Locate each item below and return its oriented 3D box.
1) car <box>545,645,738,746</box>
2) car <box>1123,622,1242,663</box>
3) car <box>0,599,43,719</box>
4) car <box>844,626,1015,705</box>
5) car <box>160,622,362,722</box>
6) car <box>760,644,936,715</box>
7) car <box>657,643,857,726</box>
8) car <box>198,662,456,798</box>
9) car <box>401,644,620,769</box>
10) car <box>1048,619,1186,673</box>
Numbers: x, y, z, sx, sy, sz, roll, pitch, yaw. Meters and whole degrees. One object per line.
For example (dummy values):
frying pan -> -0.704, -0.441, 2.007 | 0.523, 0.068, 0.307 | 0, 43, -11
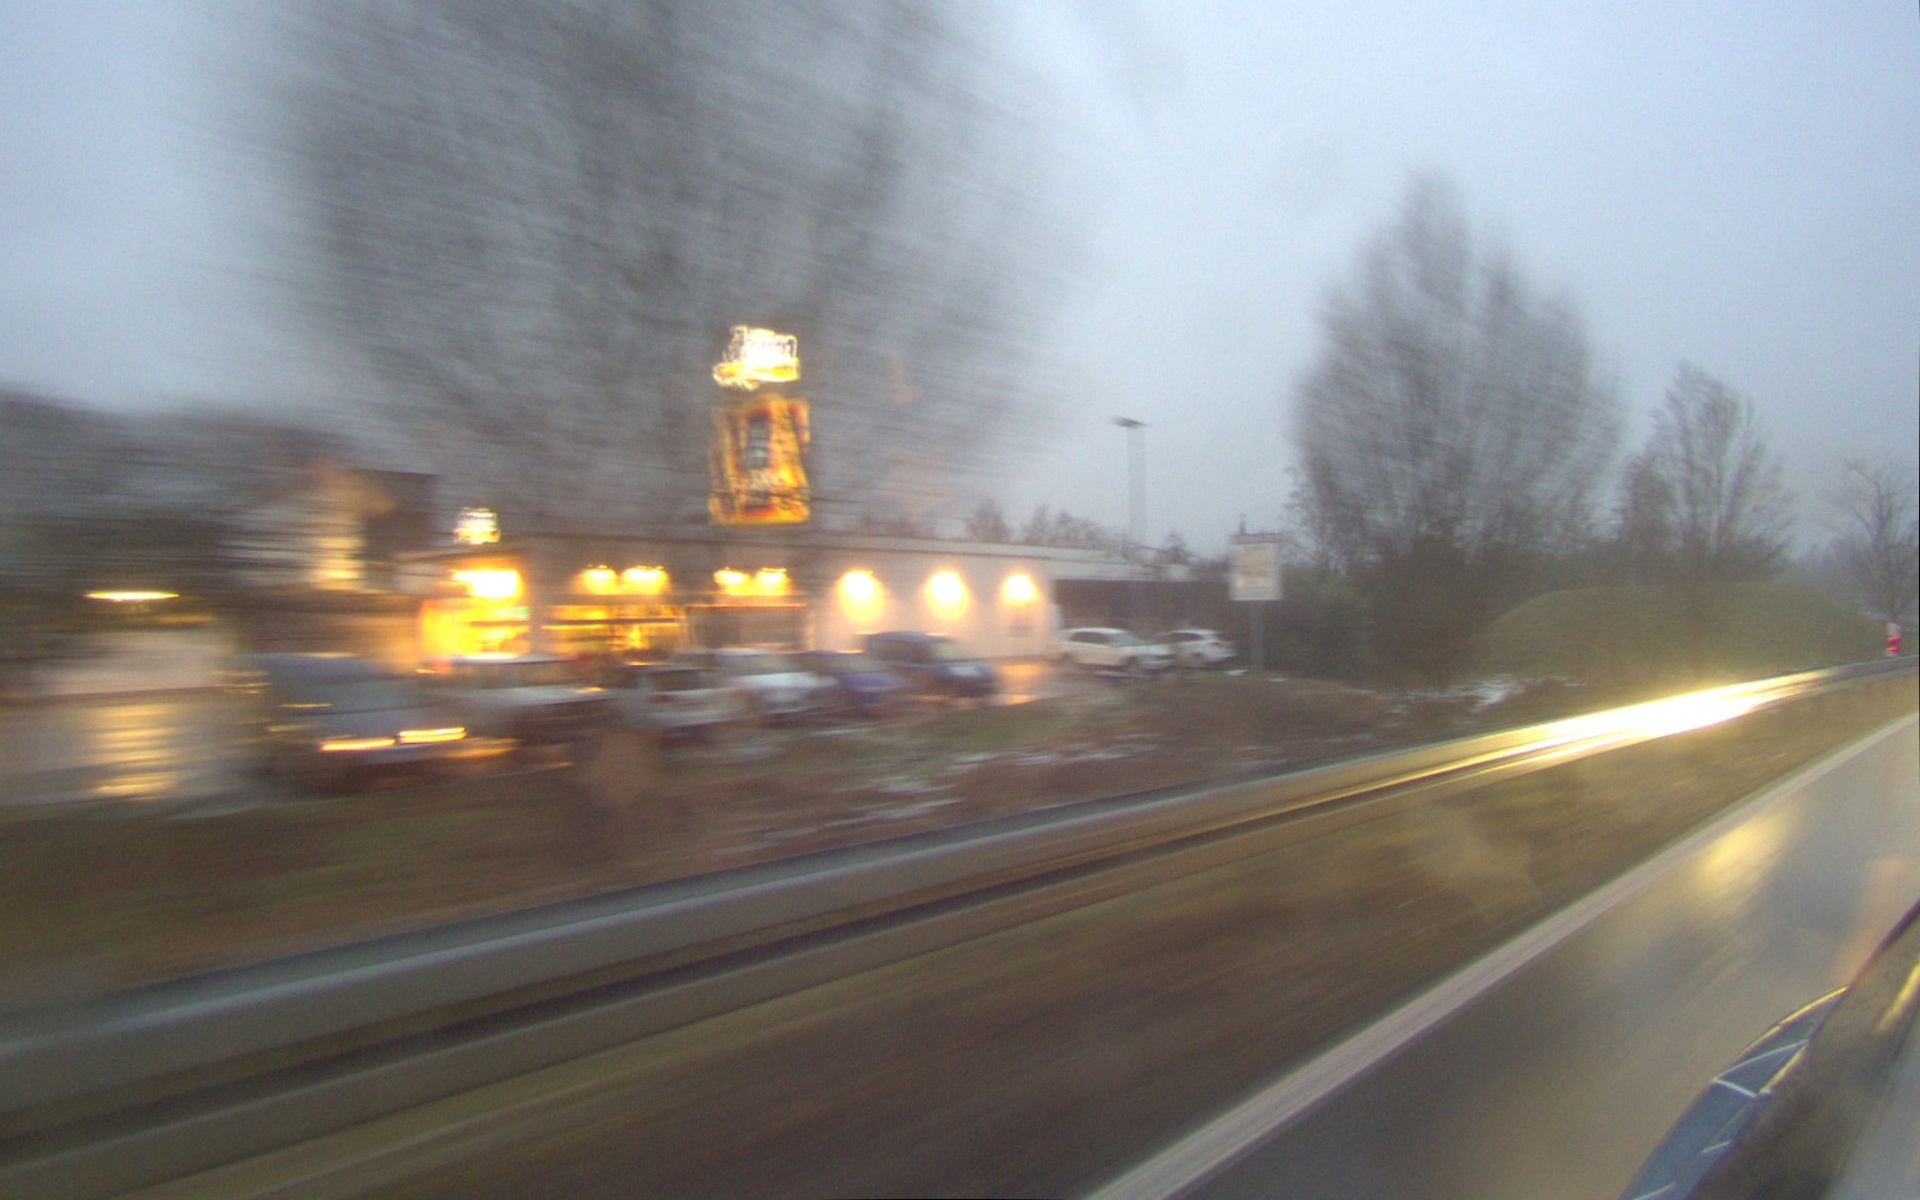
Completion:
car -> -6.311, 1.776, 19.855 | 4.120, 1.439, 1.640 | 2, 3, 39
car -> 8.760, 1.692, 39.955 | 4.167, 1.537, 1.973 | -2, -3, 37
car -> -21.765, 1.366, 20.639 | 2.061, 2.552, 4.366 | -3, 1, 0
car -> -0.834, 1.665, 26.949 | 4.231, 1.878, 1.976 | 0, -1, 34
car -> -17.948, 1.770, 26.289 | 2.062, 2.044, 4.365 | -3, 1, 2
car -> -2.707, 1.845, 24.247 | 3.848, 1.497, 1.976 | -2, -2, 34
car -> -4.554, 1.813, 22.518 | 4.230, 1.651, 1.976 | -2, -2, 34
car -> -9.707, 1.839, 15.375 | 4.705, 1.508, 1.642 | 0, 1, 36
car -> -7.930, 1.752, 17.718 | 4.114, 1.858, 1.641 | -2, 0, 36
car -> 5.413, 1.575, 35.216 | 4.384, 1.737, 1.971 | -2, -2, 40
